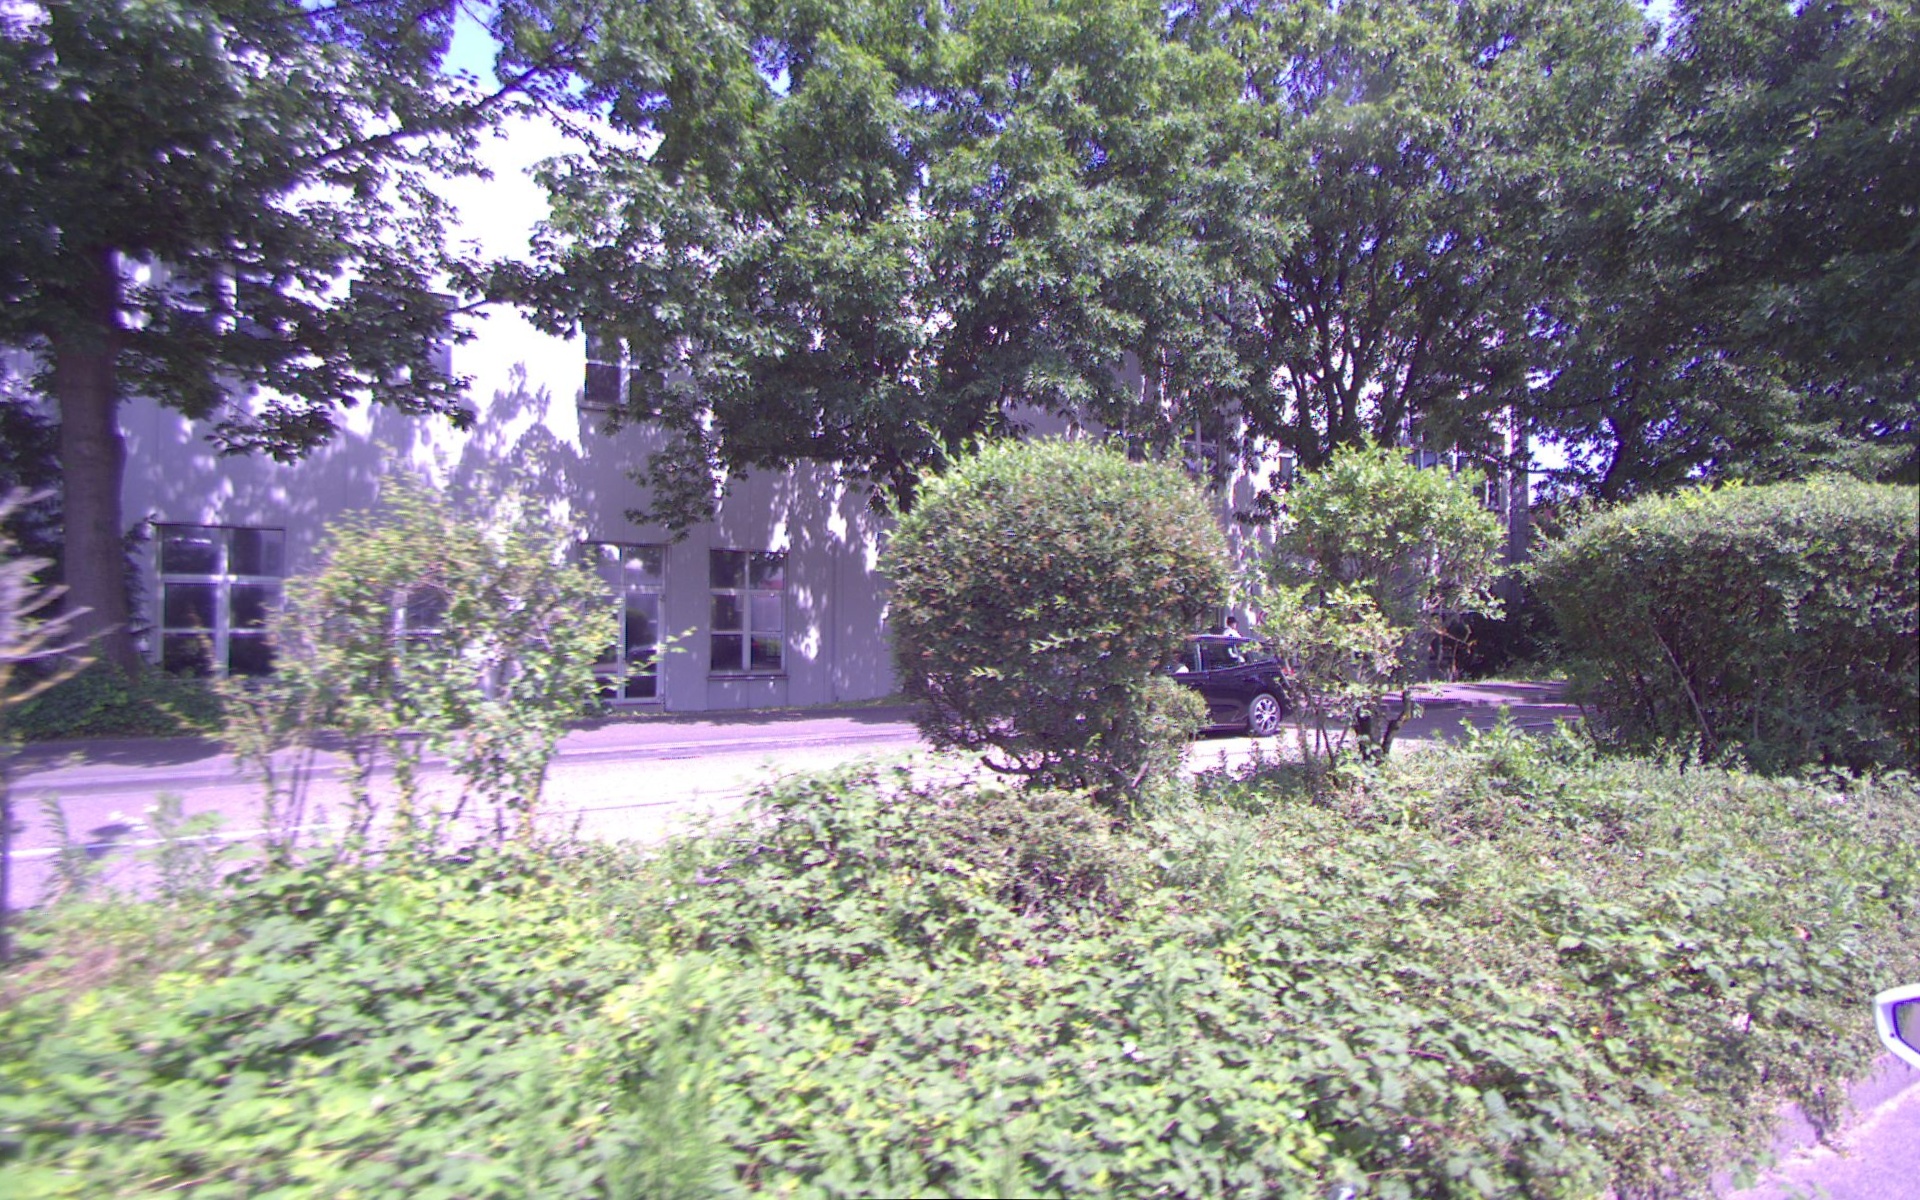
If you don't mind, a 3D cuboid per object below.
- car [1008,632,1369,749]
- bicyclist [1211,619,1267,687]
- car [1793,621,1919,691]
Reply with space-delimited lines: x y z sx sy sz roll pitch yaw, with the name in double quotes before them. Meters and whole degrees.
"car" 3.455 1.242 14.926 5.179 1.470 2.117 1 -3 -30
"bicyclist" 5.412 1.017 19.496 0.803 1.269 0.641 2 -1 -30
"car" 23.622 1.394 25.852 4.463 1.657 1.814 1 -2 -28
